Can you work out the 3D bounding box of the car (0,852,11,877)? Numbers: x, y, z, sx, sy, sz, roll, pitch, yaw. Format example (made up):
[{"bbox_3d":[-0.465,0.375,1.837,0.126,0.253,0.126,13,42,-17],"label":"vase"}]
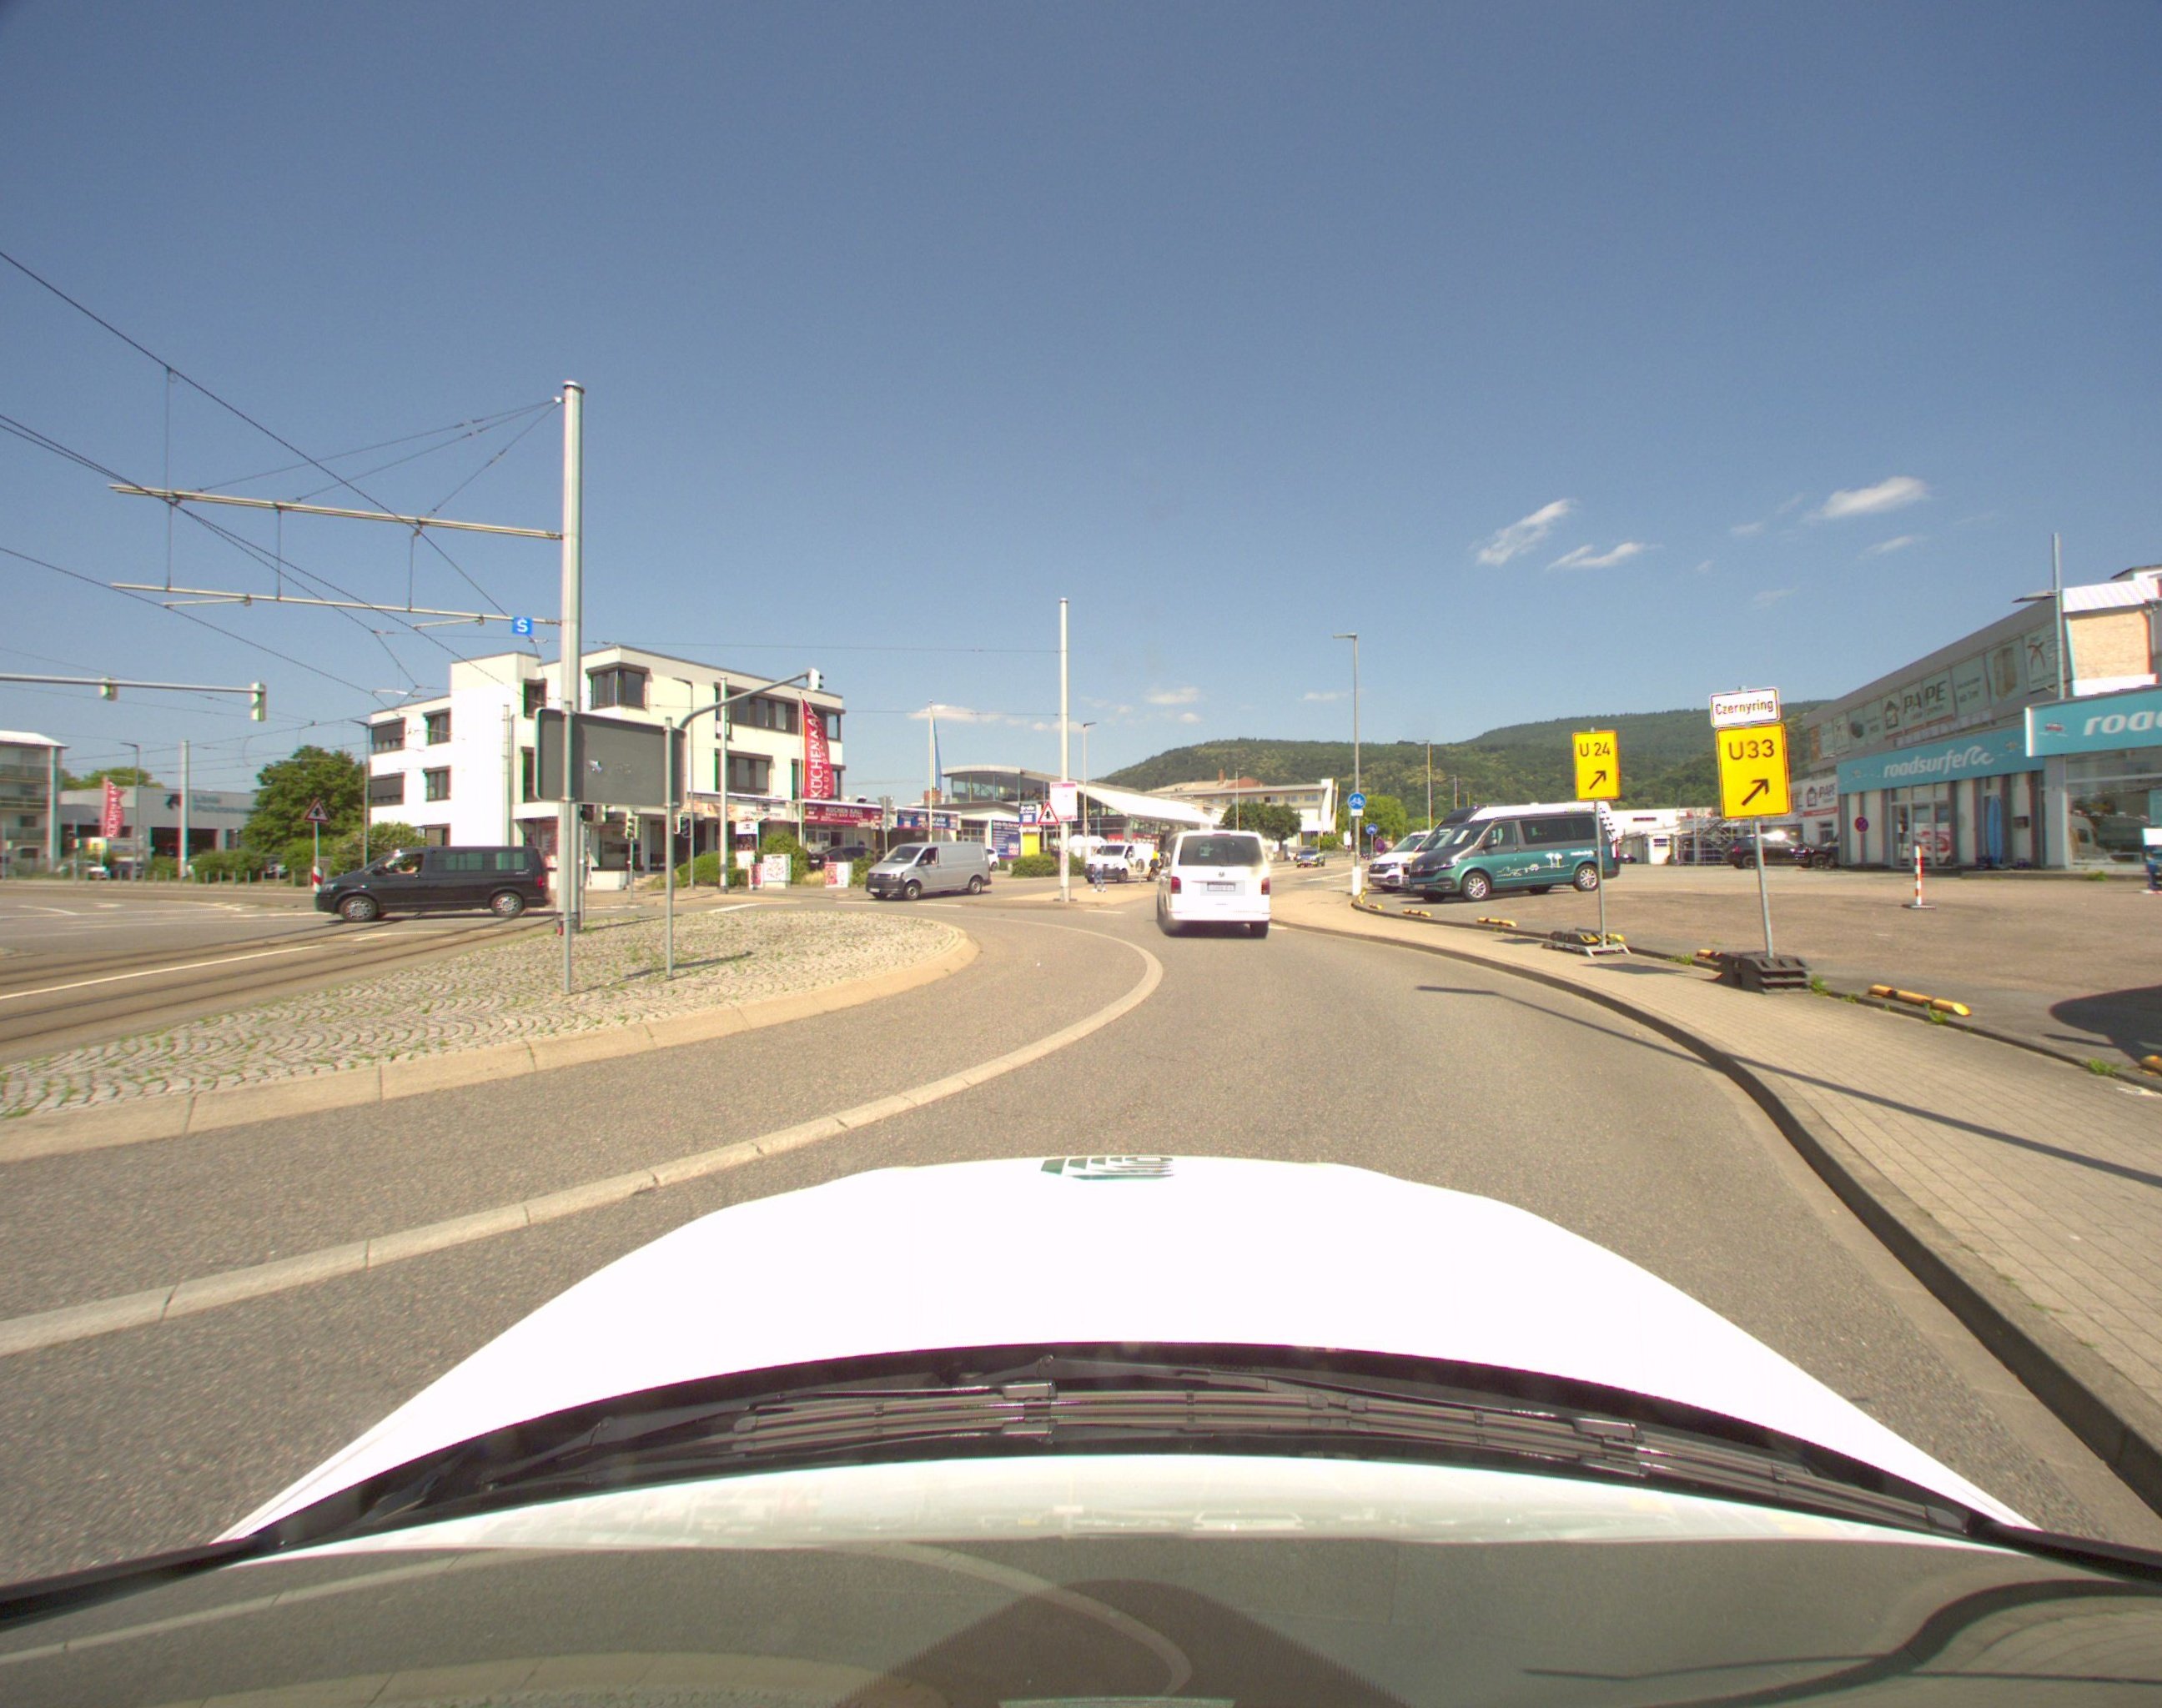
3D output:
[{"bbox_3d":[-91.583,0.917,67.167,3.973,2.013,2.000,-2,0,0],"label":"car"}]

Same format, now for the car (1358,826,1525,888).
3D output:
[{"bbox_3d":[12.828,0.106,29.186,5.120,2.013,1.929,-2,0,-2],"label":"car"}]

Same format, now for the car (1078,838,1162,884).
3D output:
[{"bbox_3d":[1.989,0.267,39.578,2.002,2.114,4.965,0,1,30],"label":"car"}]

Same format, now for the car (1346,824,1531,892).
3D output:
[{"bbox_3d":[11.454,0.123,26.315,5.136,2.000,2.021,-1,-1,-6],"label":"car"}]

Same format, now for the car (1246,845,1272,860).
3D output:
[{"bbox_3d":[19.245,-0.192,88.146,1.743,1.585,3.654,-1,0,-5],"label":"car"}]

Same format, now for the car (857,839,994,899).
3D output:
[{"bbox_3d":[-5.460,0.486,29.194,1.908,1.935,4.860,0,0,36],"label":"car"}]

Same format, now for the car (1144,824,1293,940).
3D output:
[{"bbox_3d":[2.601,0.438,16.709,2.156,2.013,5.017,0,1,-1],"label":"car"}]

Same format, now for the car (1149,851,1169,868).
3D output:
[{"bbox_3d":[7.387,0.493,77.249,1.736,1.585,3.669,-1,0,8],"label":"car"}]

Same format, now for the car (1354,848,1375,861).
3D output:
[{"bbox_3d":[35.108,0.058,100.758,1.824,1.464,4.024,-1,0,27],"label":"car"}]

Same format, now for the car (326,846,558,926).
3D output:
[{"bbox_3d":[-16.850,0.747,21.867,4.655,1.910,2.077,-1,1,-32],"label":"car"}]

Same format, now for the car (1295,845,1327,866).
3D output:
[{"bbox_3d":[20.477,0.081,72.389,1.891,1.760,4.478,-1,0,26],"label":"car"}]

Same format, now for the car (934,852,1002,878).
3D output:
[{"bbox_3d":[-7.399,0.697,53.762,1.863,1.589,4.957,-3,-1,27],"label":"car"}]

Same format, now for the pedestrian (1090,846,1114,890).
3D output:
[{"bbox_3d":[0.801,0.541,31.254,0.760,1.656,0.669,0,0,-14],"label":"pedestrian"}]

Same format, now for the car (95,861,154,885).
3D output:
[{"bbox_3d":[-74.329,1.495,63.287,3.950,1.783,2.012,-1,0,26],"label":"car"}]

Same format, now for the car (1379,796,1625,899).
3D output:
[{"bbox_3d":[12.074,-0.216,23.561,6.134,2.717,2.300,-1,0,-9],"label":"car"}]

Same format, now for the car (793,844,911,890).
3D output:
[{"bbox_3d":[-10.368,0.552,37.292,1.941,1.965,5.314,-1,0,31],"label":"car"}]

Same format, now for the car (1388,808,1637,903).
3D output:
[{"bbox_3d":[10.464,0.003,19.915,5.211,2.113,2.090,-1,0,-10],"label":"car"}]

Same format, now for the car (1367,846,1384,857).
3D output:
[{"bbox_3d":[42.679,-0.387,117.970,1.824,1.464,4.024,-1,0,26],"label":"car"}]

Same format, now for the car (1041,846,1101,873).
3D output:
[{"bbox_3d":[-0.579,0.314,49.937,1.975,1.618,4.024,-1,0,27],"label":"car"}]

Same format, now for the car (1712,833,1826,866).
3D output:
[{"bbox_3d":[33.678,-0.216,40.000,3.949,1.518,1.902,-1,0,28],"label":"car"}]
